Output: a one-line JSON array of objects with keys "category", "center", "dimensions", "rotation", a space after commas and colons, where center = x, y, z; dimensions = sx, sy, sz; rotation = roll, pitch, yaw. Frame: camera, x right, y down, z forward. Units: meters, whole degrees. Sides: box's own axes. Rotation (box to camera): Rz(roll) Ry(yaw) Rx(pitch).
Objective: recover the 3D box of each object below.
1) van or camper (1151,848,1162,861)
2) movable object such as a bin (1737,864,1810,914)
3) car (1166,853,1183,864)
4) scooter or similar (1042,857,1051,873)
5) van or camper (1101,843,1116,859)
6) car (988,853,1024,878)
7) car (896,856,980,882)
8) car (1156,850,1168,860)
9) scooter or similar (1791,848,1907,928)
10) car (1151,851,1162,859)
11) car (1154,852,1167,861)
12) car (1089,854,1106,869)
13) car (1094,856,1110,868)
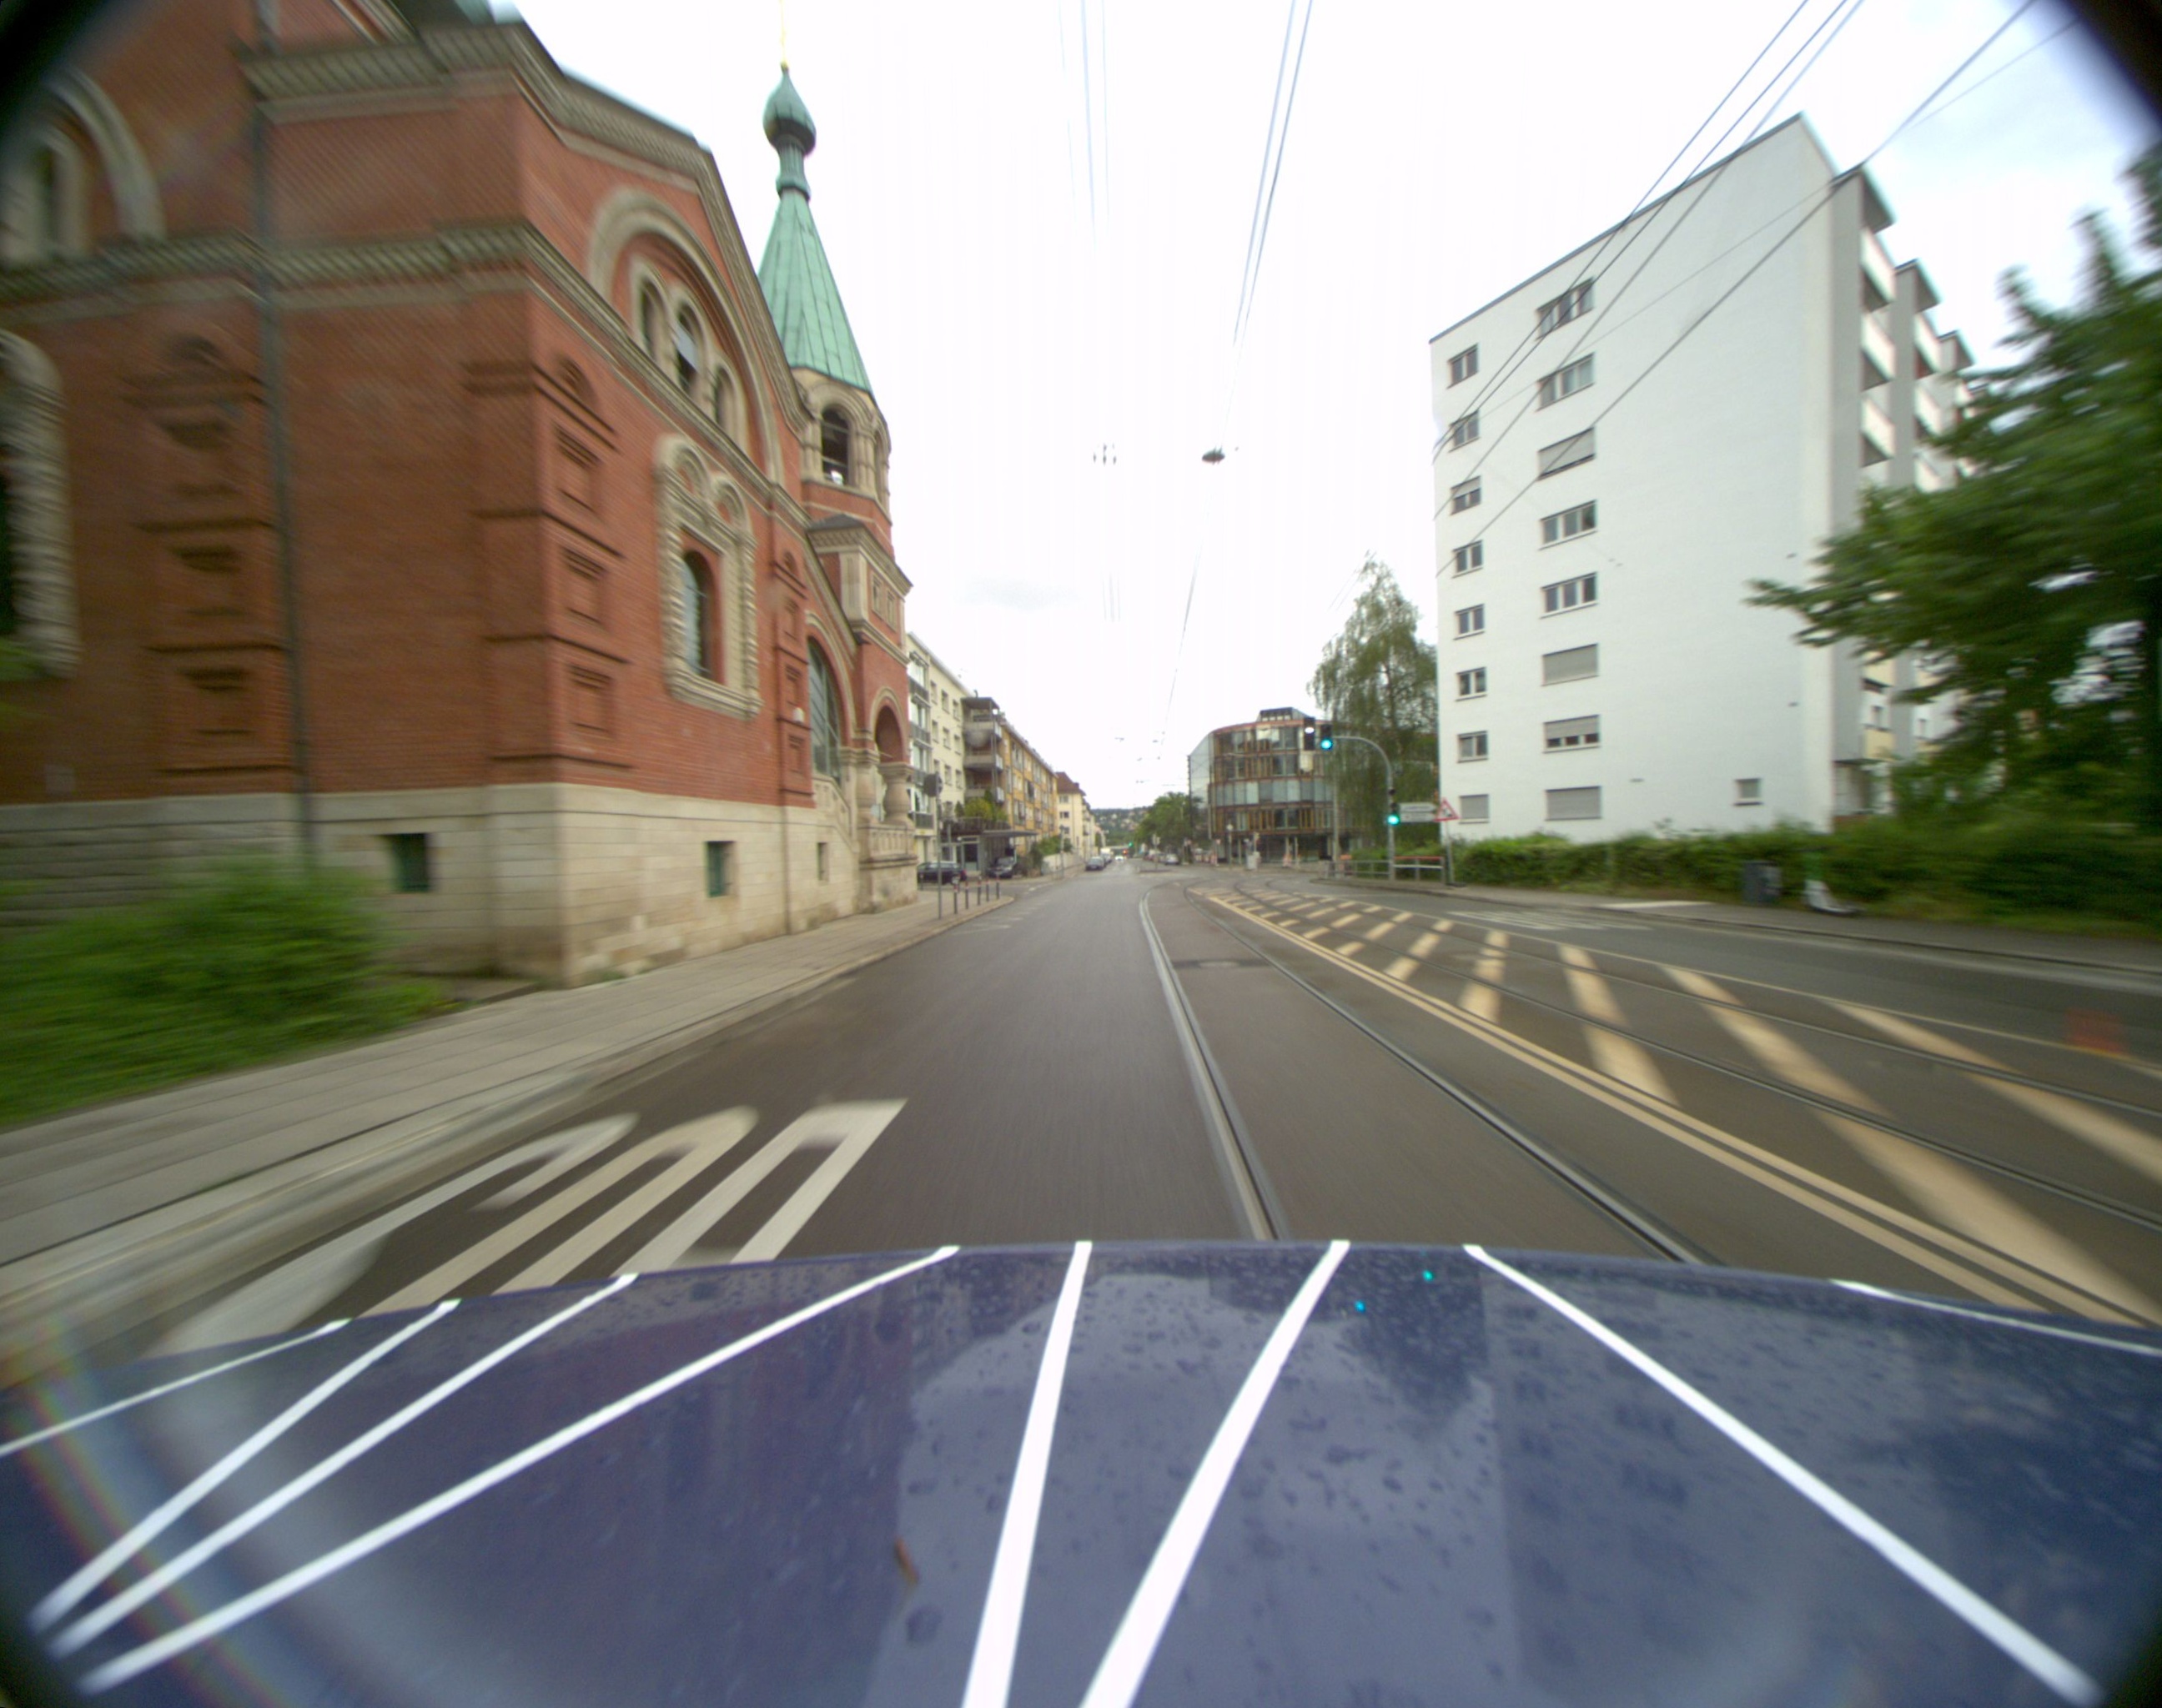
[{"category": "van or camper", "center": [17.210, 0.088, 173.836], "dimensions": [2.143, 2.588, 5.550], "rotation": [-3, 2, 4]}, {"category": "movable object such as a bin", "center": [13.216, 0.652, 14.514], "dimensions": [0.688, 0.877, 0.760], "rotation": [-3, 2, -2]}, {"category": "car", "center": [12.550, 0.541, 102.535], "dimensions": [1.862, 1.386, 4.645], "rotation": [-2, 0, 2]}, {"category": "scooter or similar", "center": [-2.859, 0.897, 63.294], "dimensions": [0.536, 1.320, 1.659], "rotation": [3, 1, 4]}, {"category": "van or camper", "center": [5.625, -0.625, 154.882], "dimensions": [2.753, 3.041, 7.030], "rotation": [-3, 2, 4]}, {"category": "car", "center": [-5.299, 0.792, 54.515], "dimensions": [1.857, 1.495, 4.449], "rotation": [1, 2, 4]}, {"category": "car", "center": [-8.373, 0.929, 44.720], "dimensions": [4.459, 1.448, 1.997], "rotation": [2, -3, -42]}, {"category": "car", "center": [15.730, 0.207, 147.419], "dimensions": [1.880, 1.700, 3.999], "rotation": [-2, 2, 1]}, {"category": "scooter or similar", "center": [12.685, 0.528, 12.617], "dimensions": [0.573, 1.177, 1.601], "rotation": [-3, 2, 13]}, {"category": "car", "center": [16.687, 0.231, 167.685], "dimensions": [1.998, 1.566, 3.999], "rotation": [-3, 1, 2]}, {"category": "car", "center": [14.896, 0.481, 142.337], "dimensions": [1.880, 1.390, 3.999], "rotation": [-2, 1, 1]}, {"category": "car", "center": [1.881, 0.852, 85.999], "dimensions": [1.734, 1.451, 4.478], "rotation": [-3, 1, 3]}, {"category": "car", "center": [2.888, 1.050, 102.990], "dimensions": [1.915, 1.418, 4.451], "rotation": [-3, 1, 3]}]
